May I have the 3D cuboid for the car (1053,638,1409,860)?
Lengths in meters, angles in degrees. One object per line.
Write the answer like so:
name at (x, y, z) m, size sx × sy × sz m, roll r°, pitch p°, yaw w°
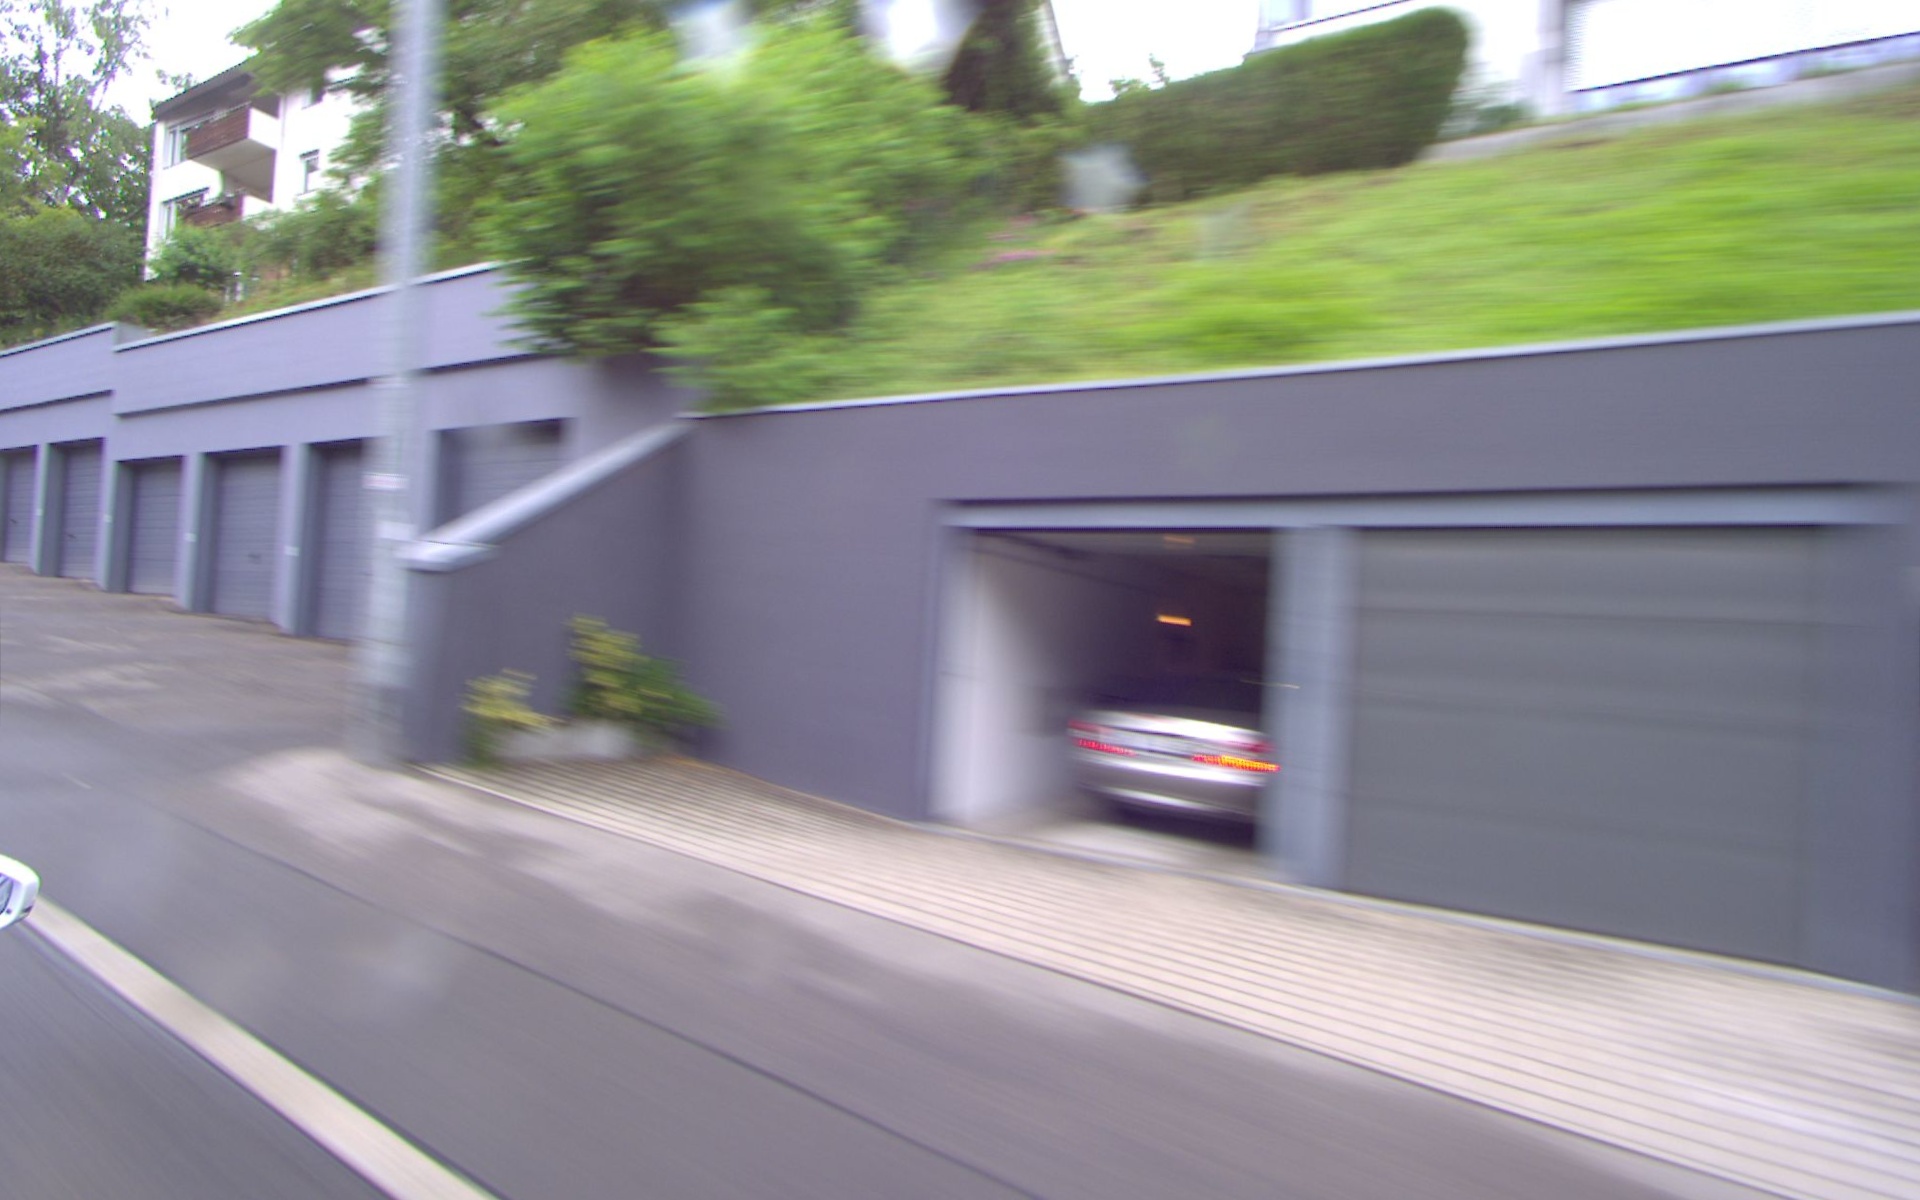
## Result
car at (2.554, 1.306, 8.840) m, size 1.632 × 1.434 × 3.687 m, roll 3°, pitch -7°, yaw 38°
